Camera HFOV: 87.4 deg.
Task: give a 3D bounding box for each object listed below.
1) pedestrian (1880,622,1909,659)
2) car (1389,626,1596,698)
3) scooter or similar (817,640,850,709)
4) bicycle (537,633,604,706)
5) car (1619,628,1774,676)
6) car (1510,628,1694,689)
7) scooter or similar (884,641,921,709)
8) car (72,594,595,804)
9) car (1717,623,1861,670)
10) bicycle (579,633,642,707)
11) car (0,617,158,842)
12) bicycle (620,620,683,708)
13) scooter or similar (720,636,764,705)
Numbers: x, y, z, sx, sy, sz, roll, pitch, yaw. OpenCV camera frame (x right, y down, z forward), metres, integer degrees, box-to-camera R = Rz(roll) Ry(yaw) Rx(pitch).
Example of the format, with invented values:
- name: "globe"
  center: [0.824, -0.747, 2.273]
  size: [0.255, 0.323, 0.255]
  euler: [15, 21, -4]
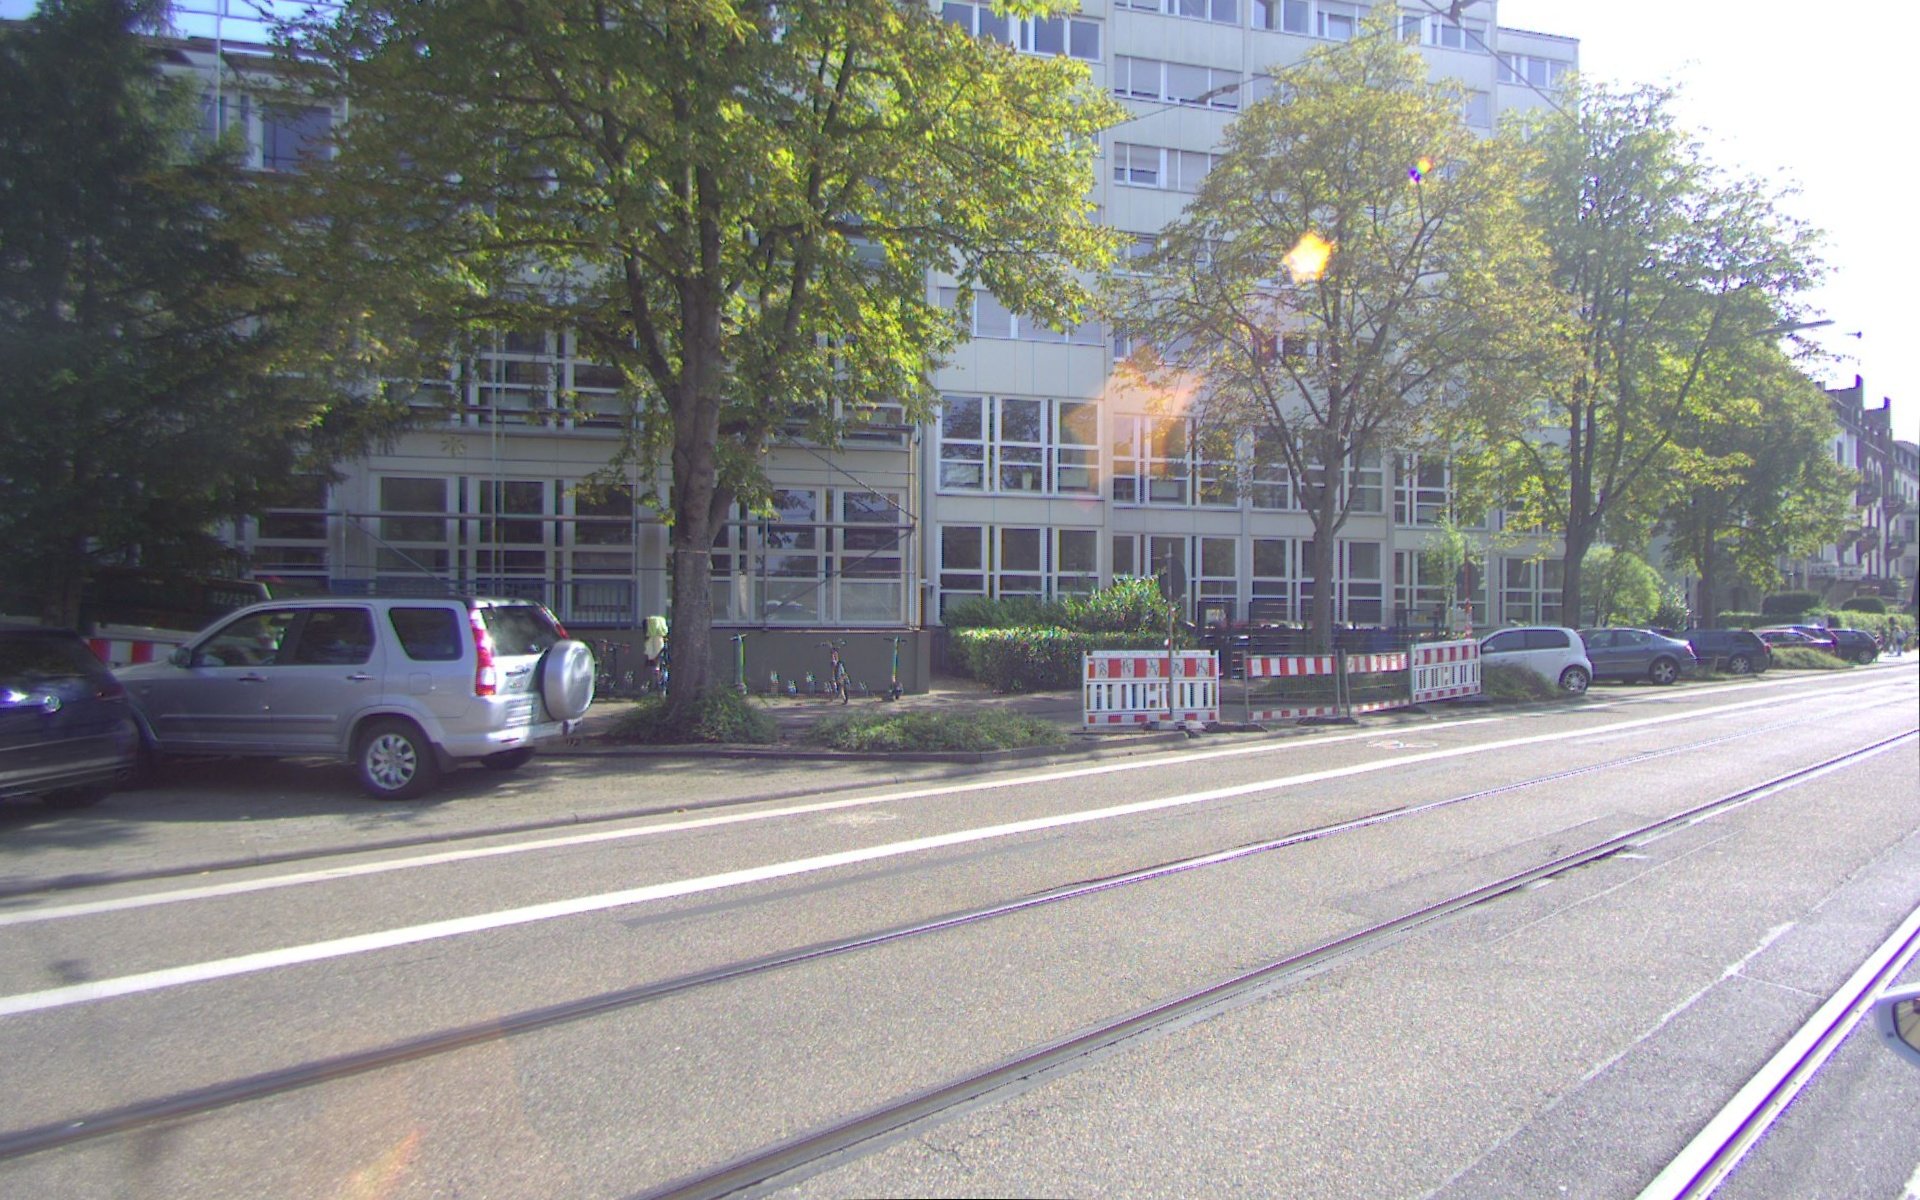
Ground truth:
- name: "pedestrian"
  center: [45.903, 1.968, 49.341]
  size: [0.655, 1.783, 0.954]
  euler: [1, -1, -39]
- name: "car"
  center: [11.563, 1.330, 21.983]
  size: [3.688, 1.462, 1.571]
  euler: [1, -1, 1]
- name: "scooter or similar"
  center: [-2.329, 1.347, 18.609]
  size: [0.575, 1.149, 2.033]
  euler: [1, -1, -6]
- name: "bicycle"
  center: [-6.690, 1.164, 17.343]
  size: [0.575, 1.149, 2.033]
  euler: [1, -1, -6]
- name: "car"
  center: [23.382, 1.621, 31.984]
  size: [3.687, 1.425, 1.571]
  euler: [0, -1, 6]
- name: "car"
  center: [16.474, 1.485, 25.921]
  size: [3.687, 1.462, 1.571]
  euler: [0, -1, 6]
- name: "scooter or similar"
  center: [-1.096, 1.360, 18.749]
  size: [0.575, 1.149, 2.033]
  euler: [1, -1, -6]
- name: "car"
  center: [-5.489, 0.800, 9.067]
  size: [3.719, 1.643, 1.745]
  euler: [0, -1, 7]
- name: "car"
  center: [31.593, 1.746, 38.409]
  size: [3.924, 1.662, 1.690]
  euler: [0, -1, 25]
- name: "bicycle"
  center: [-5.956, 1.169, 17.197]
  size: [0.575, 1.149, 2.033]
  euler: [1, -1, -6]
- name: "car"
  center: [-8.082, 0.846, 7.101]
  size: [3.718, 1.461, 1.695]
  euler: [0, -1, 9]
- name: "bicycle"
  center: [-5.285, 1.057, 17.324]
  size: [0.575, 1.399, 2.430]
  euler: [1, -1, -6]
- name: "scooter or similar"
  center: [-3.960, 1.254, 18.351]
  size: [0.575, 1.149, 2.033]
  euler: [1, -1, -6]
